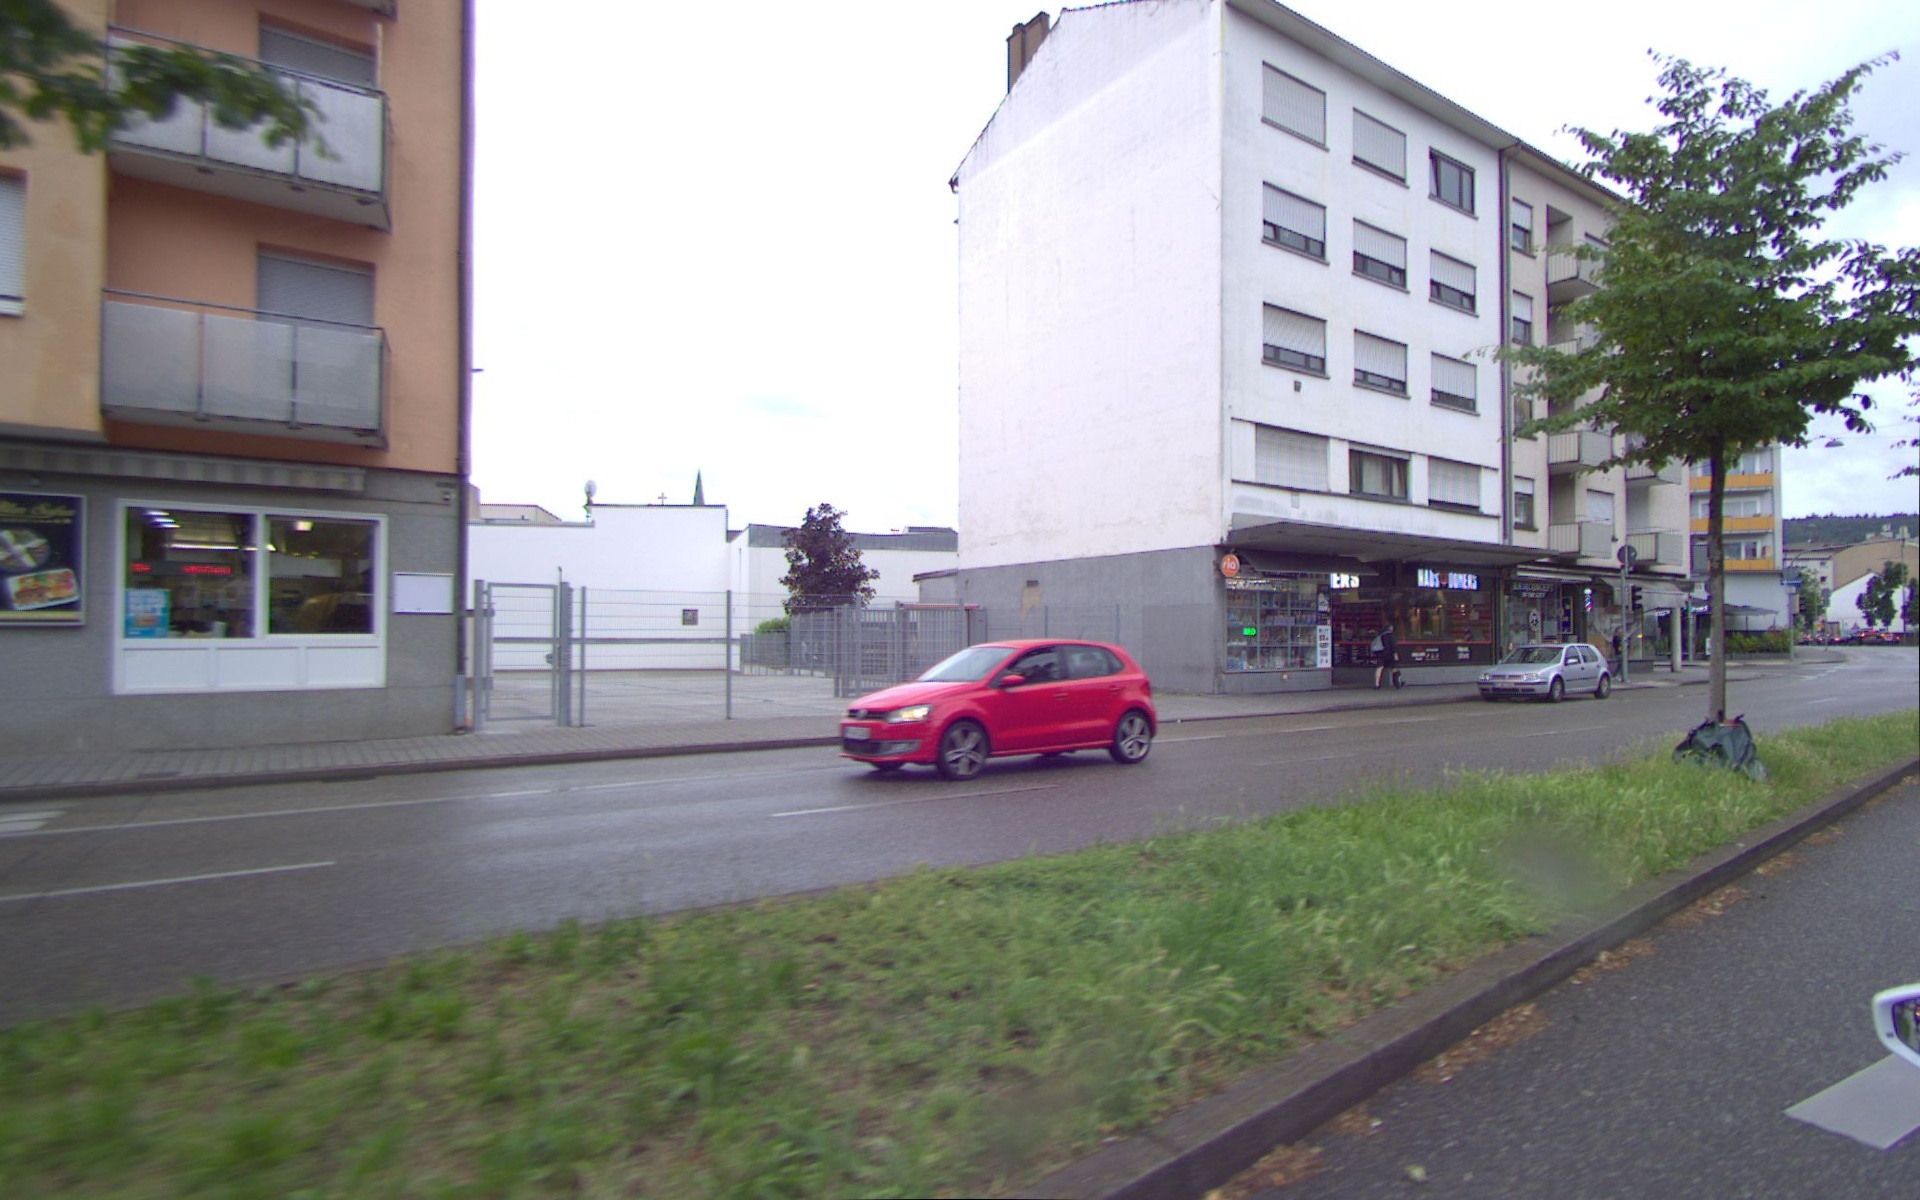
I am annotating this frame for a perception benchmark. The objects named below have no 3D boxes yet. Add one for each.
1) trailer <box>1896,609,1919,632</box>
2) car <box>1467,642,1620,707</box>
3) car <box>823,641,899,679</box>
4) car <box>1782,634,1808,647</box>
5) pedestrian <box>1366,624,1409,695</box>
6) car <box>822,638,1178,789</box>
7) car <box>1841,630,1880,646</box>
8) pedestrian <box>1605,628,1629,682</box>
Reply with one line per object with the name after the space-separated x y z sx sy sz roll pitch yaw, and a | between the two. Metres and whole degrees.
120.210 2.573 126.591 2.098 2.751 5.378 -4 -4 32 | trailer
14.587 1.831 25.042 4.110 1.410 1.666 0 -4 -35 | car
-3.707 2.172 37.142 1.684 1.283 3.747 0 -2 -25 | car
97.521 4.706 117.344 1.641 1.415 3.859 -2 -1 30 | car
11.099 1.530 26.099 0.653 1.753 0.773 0 2 -31 | pedestrian
0.535 1.200 11.479 3.907 1.448 1.593 2 -5 -36 | car
83.651 3.535 93.381 1.639 1.415 3.863 -2 -1 25 | car
21.759 1.824 33.267 0.518 1.754 0.450 0 2 -30 | pedestrian
